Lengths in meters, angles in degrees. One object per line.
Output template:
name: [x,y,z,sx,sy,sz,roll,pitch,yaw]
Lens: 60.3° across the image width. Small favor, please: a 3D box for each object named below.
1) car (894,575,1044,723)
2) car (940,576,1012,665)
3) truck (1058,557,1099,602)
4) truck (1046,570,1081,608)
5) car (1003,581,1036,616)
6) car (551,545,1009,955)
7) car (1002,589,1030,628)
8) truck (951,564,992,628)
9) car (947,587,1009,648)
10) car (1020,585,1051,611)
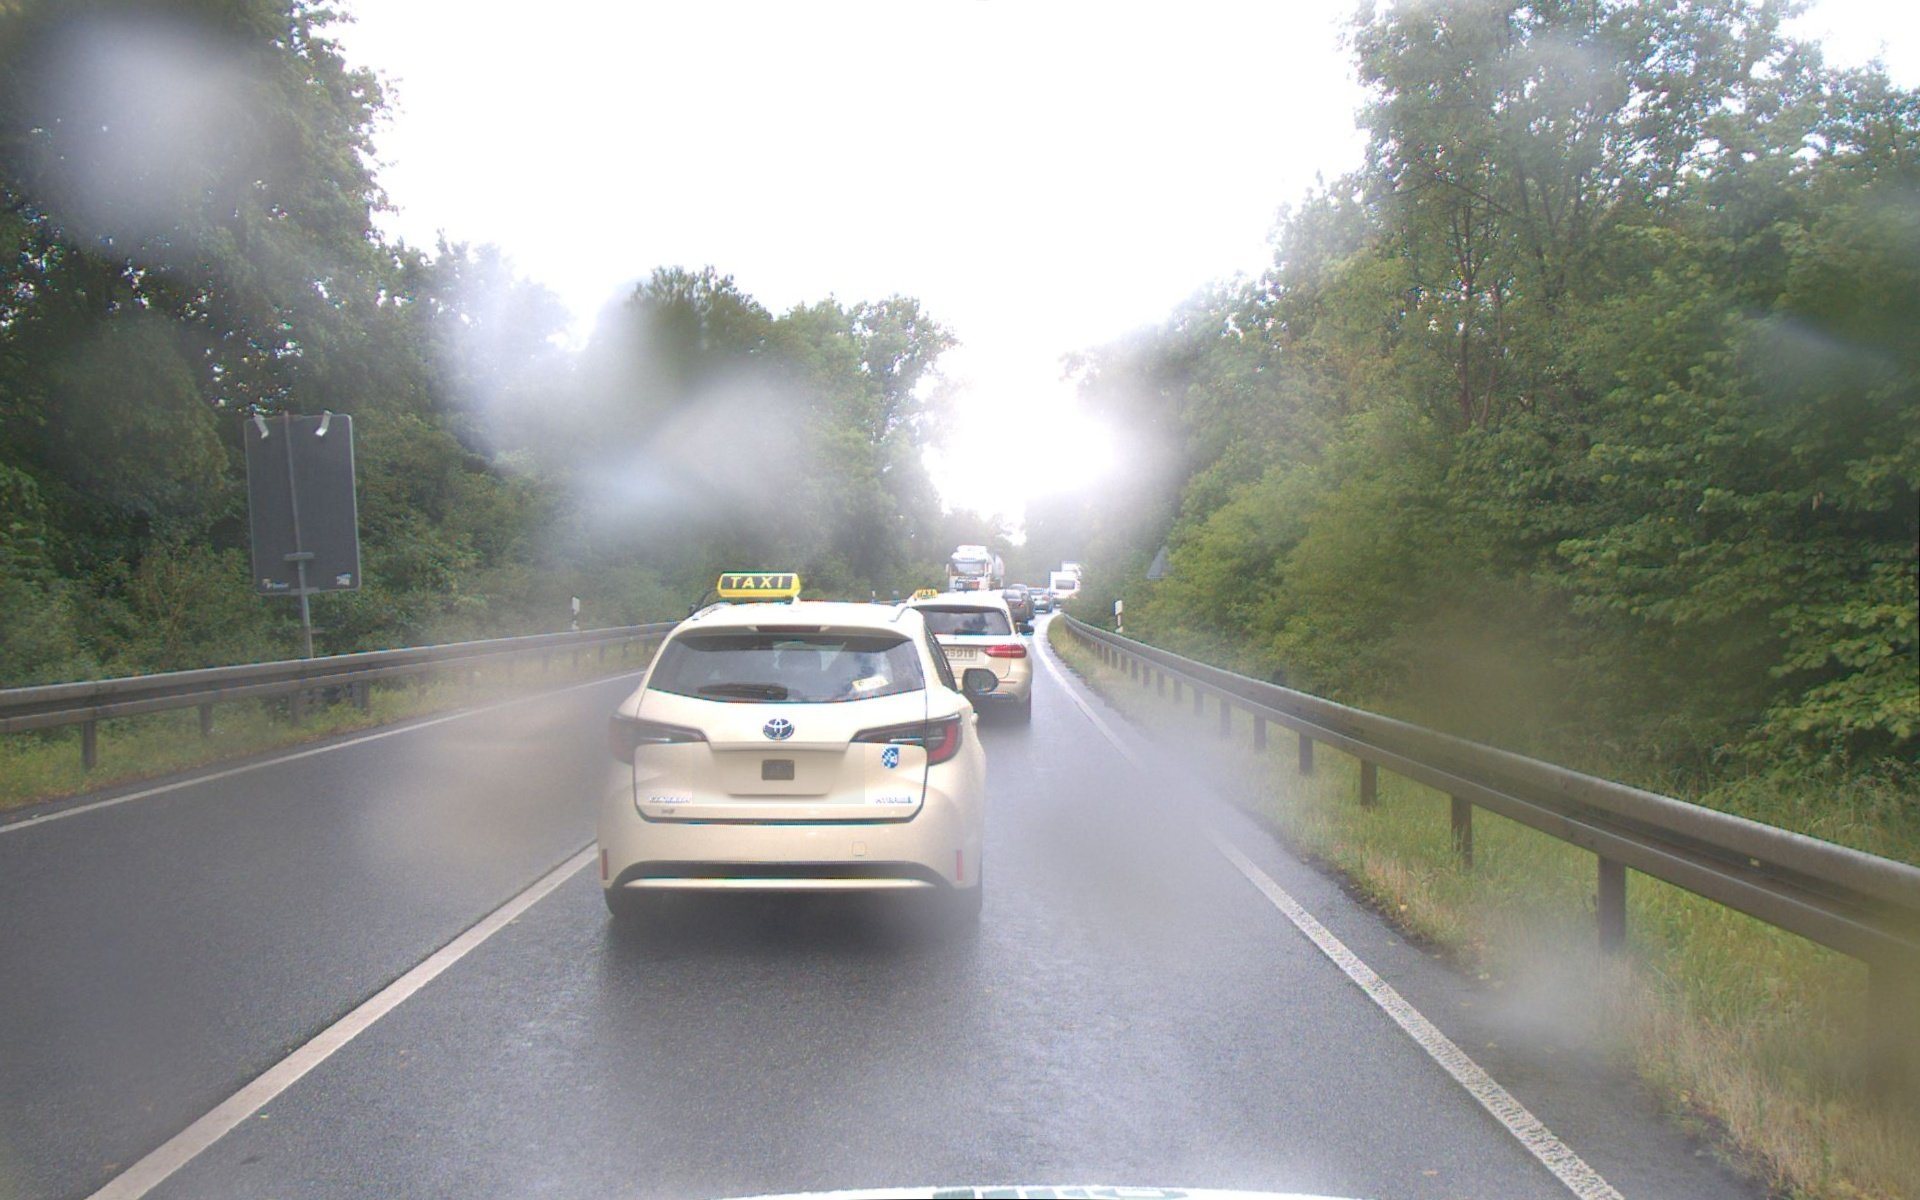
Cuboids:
car: [0.113,0.552,20.241,1.633,1.608,3.892,1,0,0]
car: [0.313,0.379,31.529,1.274,1.574,3.260,1,0,1]
truck: [10.331,-1.758,143.945,3.041,3.745,7.005,1,0,8]
truck: [7.789,-0.760,125.262,2.496,2.760,7.537,1,0,3]
car: [2.968,-0.056,82.097,1.582,1.641,3.622,1,0,2]
car: [-0.747,0.610,8.681,1.796,1.608,4.156,1,0,-1]
car: [2.339,0.369,68.838,1.143,1.574,2.605,1,0,2]
truck: [0.684,-0.234,105.653,2.484,3.892,5.244,1,0,-1]
car: [0.452,0.436,44.216,1.578,1.574,3.814,0,0,0]
car: [4.701,-0.129,102.567,1.732,1.574,3.816,1,0,6]
